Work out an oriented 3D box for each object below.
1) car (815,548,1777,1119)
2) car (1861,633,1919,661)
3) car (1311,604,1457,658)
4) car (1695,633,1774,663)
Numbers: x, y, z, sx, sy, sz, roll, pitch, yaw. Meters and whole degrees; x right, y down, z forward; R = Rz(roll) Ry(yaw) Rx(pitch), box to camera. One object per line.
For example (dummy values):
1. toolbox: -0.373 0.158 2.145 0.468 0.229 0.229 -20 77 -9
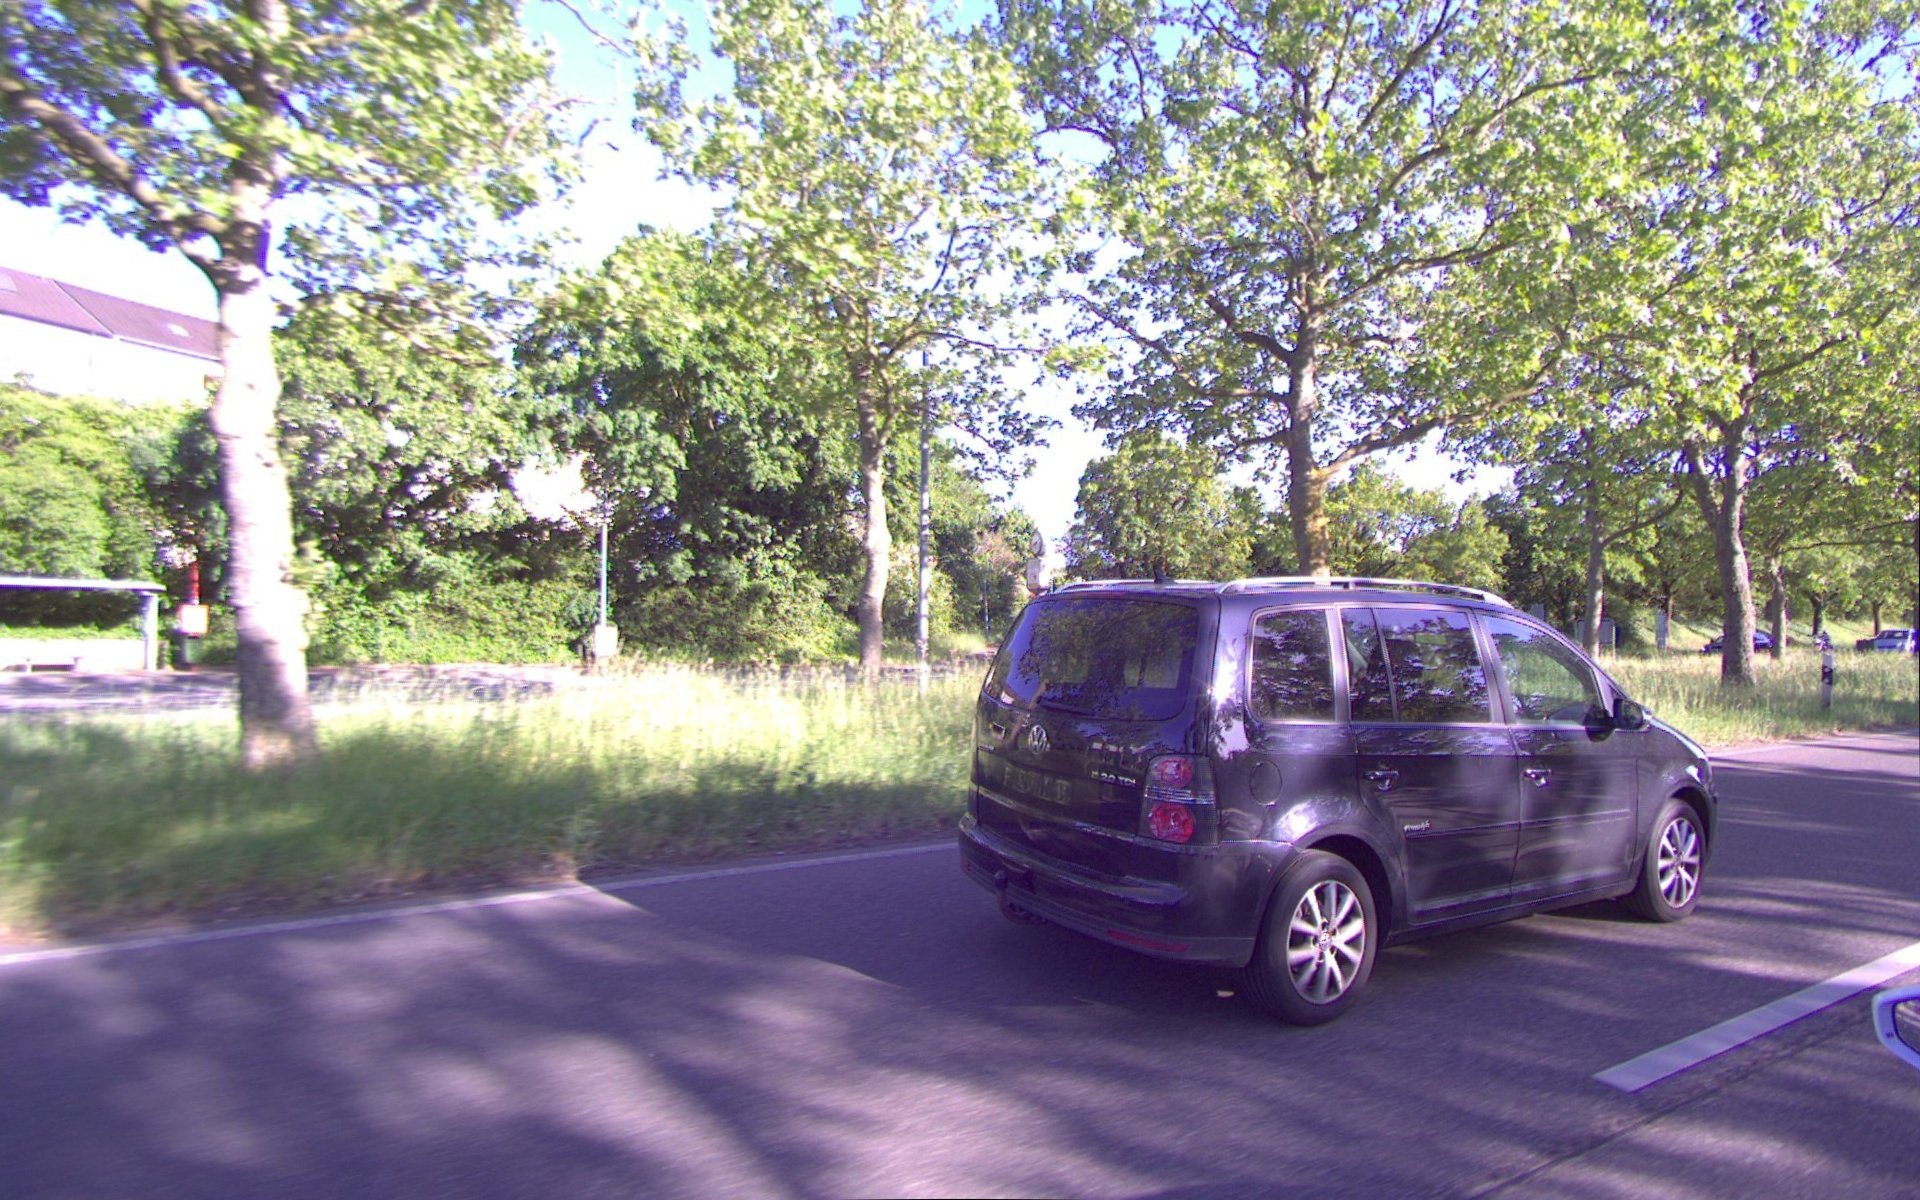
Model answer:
1. car: 1.897 0.746 4.957 4.867 1.666 1.759 2 -1 -31
2. car: 52.140 2.573 55.903 4.315 1.483 1.759 1 -1 -31
3. car: 15.984 1.171 37.794 5.675 1.927 2.124 1 -1 -31
4. car: 39.763 2.447 51.524 4.315 1.483 1.759 1 -1 -31
